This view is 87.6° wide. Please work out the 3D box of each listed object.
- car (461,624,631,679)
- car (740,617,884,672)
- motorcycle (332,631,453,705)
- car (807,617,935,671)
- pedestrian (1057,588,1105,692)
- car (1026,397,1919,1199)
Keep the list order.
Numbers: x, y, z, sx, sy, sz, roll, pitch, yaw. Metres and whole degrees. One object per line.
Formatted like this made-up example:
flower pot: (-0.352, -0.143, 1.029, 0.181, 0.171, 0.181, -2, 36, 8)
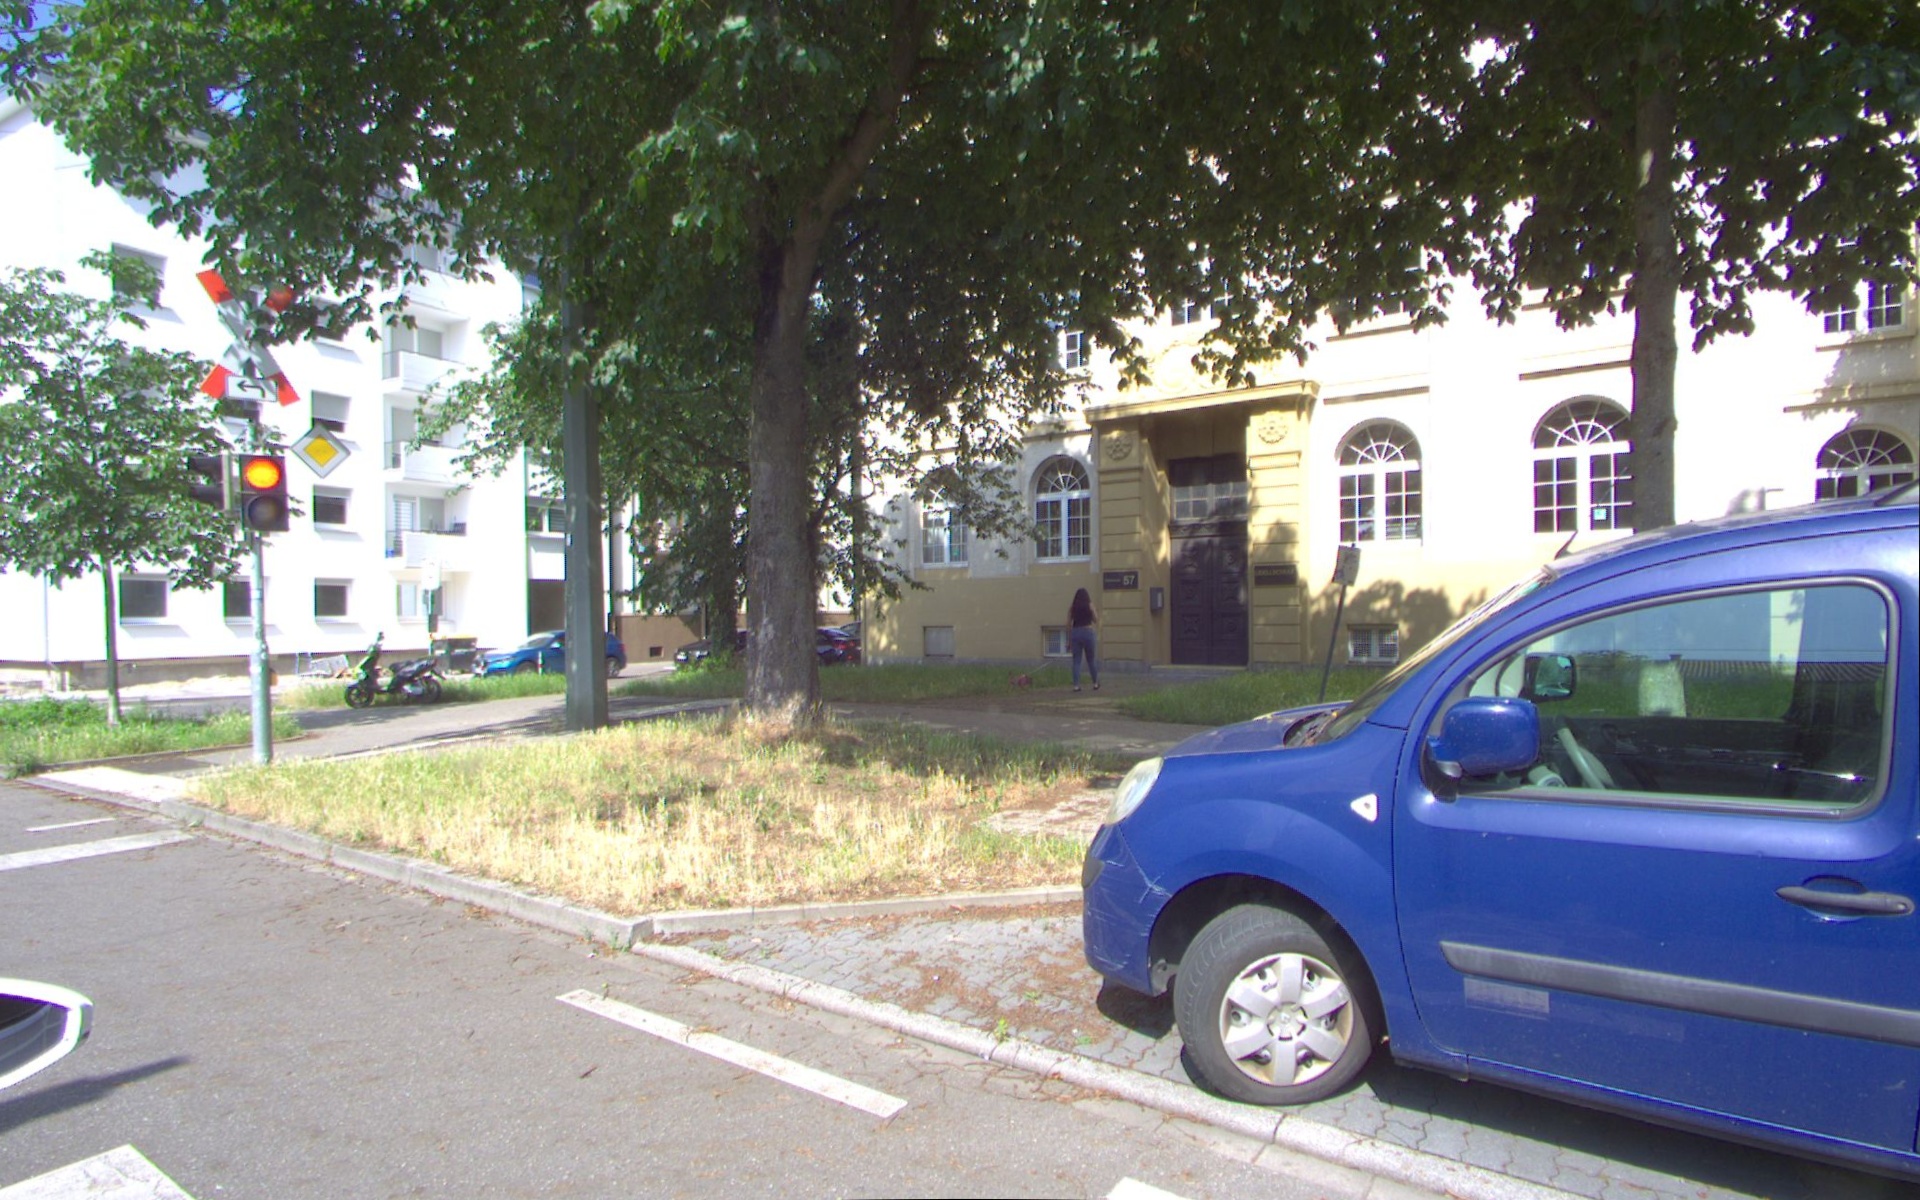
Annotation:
car: (-11.627, 1.445, 28.343, 1.757, 1.430, 4.155, -2, -3, 35)
car: (-4.298, 1.256, 28.941, 3.942, 1.478, 1.736, -1, 0, 32)
motorcycle: (-10.391, 1.239, 18.358, 1.811, 1.233, 0.571, -2, 4, 0)
car: (-2.823, 1.323, 31.336, 3.955, 1.560, 1.797, -1, -1, 42)
pedestrian: (1.934, 0.627, 15.986, 0.532, 1.617, 0.630, -1, 0, 31)
car: (2.417, 0.536, 2.841, 4.128, 1.921, 1.816, 0, 1, 36)
